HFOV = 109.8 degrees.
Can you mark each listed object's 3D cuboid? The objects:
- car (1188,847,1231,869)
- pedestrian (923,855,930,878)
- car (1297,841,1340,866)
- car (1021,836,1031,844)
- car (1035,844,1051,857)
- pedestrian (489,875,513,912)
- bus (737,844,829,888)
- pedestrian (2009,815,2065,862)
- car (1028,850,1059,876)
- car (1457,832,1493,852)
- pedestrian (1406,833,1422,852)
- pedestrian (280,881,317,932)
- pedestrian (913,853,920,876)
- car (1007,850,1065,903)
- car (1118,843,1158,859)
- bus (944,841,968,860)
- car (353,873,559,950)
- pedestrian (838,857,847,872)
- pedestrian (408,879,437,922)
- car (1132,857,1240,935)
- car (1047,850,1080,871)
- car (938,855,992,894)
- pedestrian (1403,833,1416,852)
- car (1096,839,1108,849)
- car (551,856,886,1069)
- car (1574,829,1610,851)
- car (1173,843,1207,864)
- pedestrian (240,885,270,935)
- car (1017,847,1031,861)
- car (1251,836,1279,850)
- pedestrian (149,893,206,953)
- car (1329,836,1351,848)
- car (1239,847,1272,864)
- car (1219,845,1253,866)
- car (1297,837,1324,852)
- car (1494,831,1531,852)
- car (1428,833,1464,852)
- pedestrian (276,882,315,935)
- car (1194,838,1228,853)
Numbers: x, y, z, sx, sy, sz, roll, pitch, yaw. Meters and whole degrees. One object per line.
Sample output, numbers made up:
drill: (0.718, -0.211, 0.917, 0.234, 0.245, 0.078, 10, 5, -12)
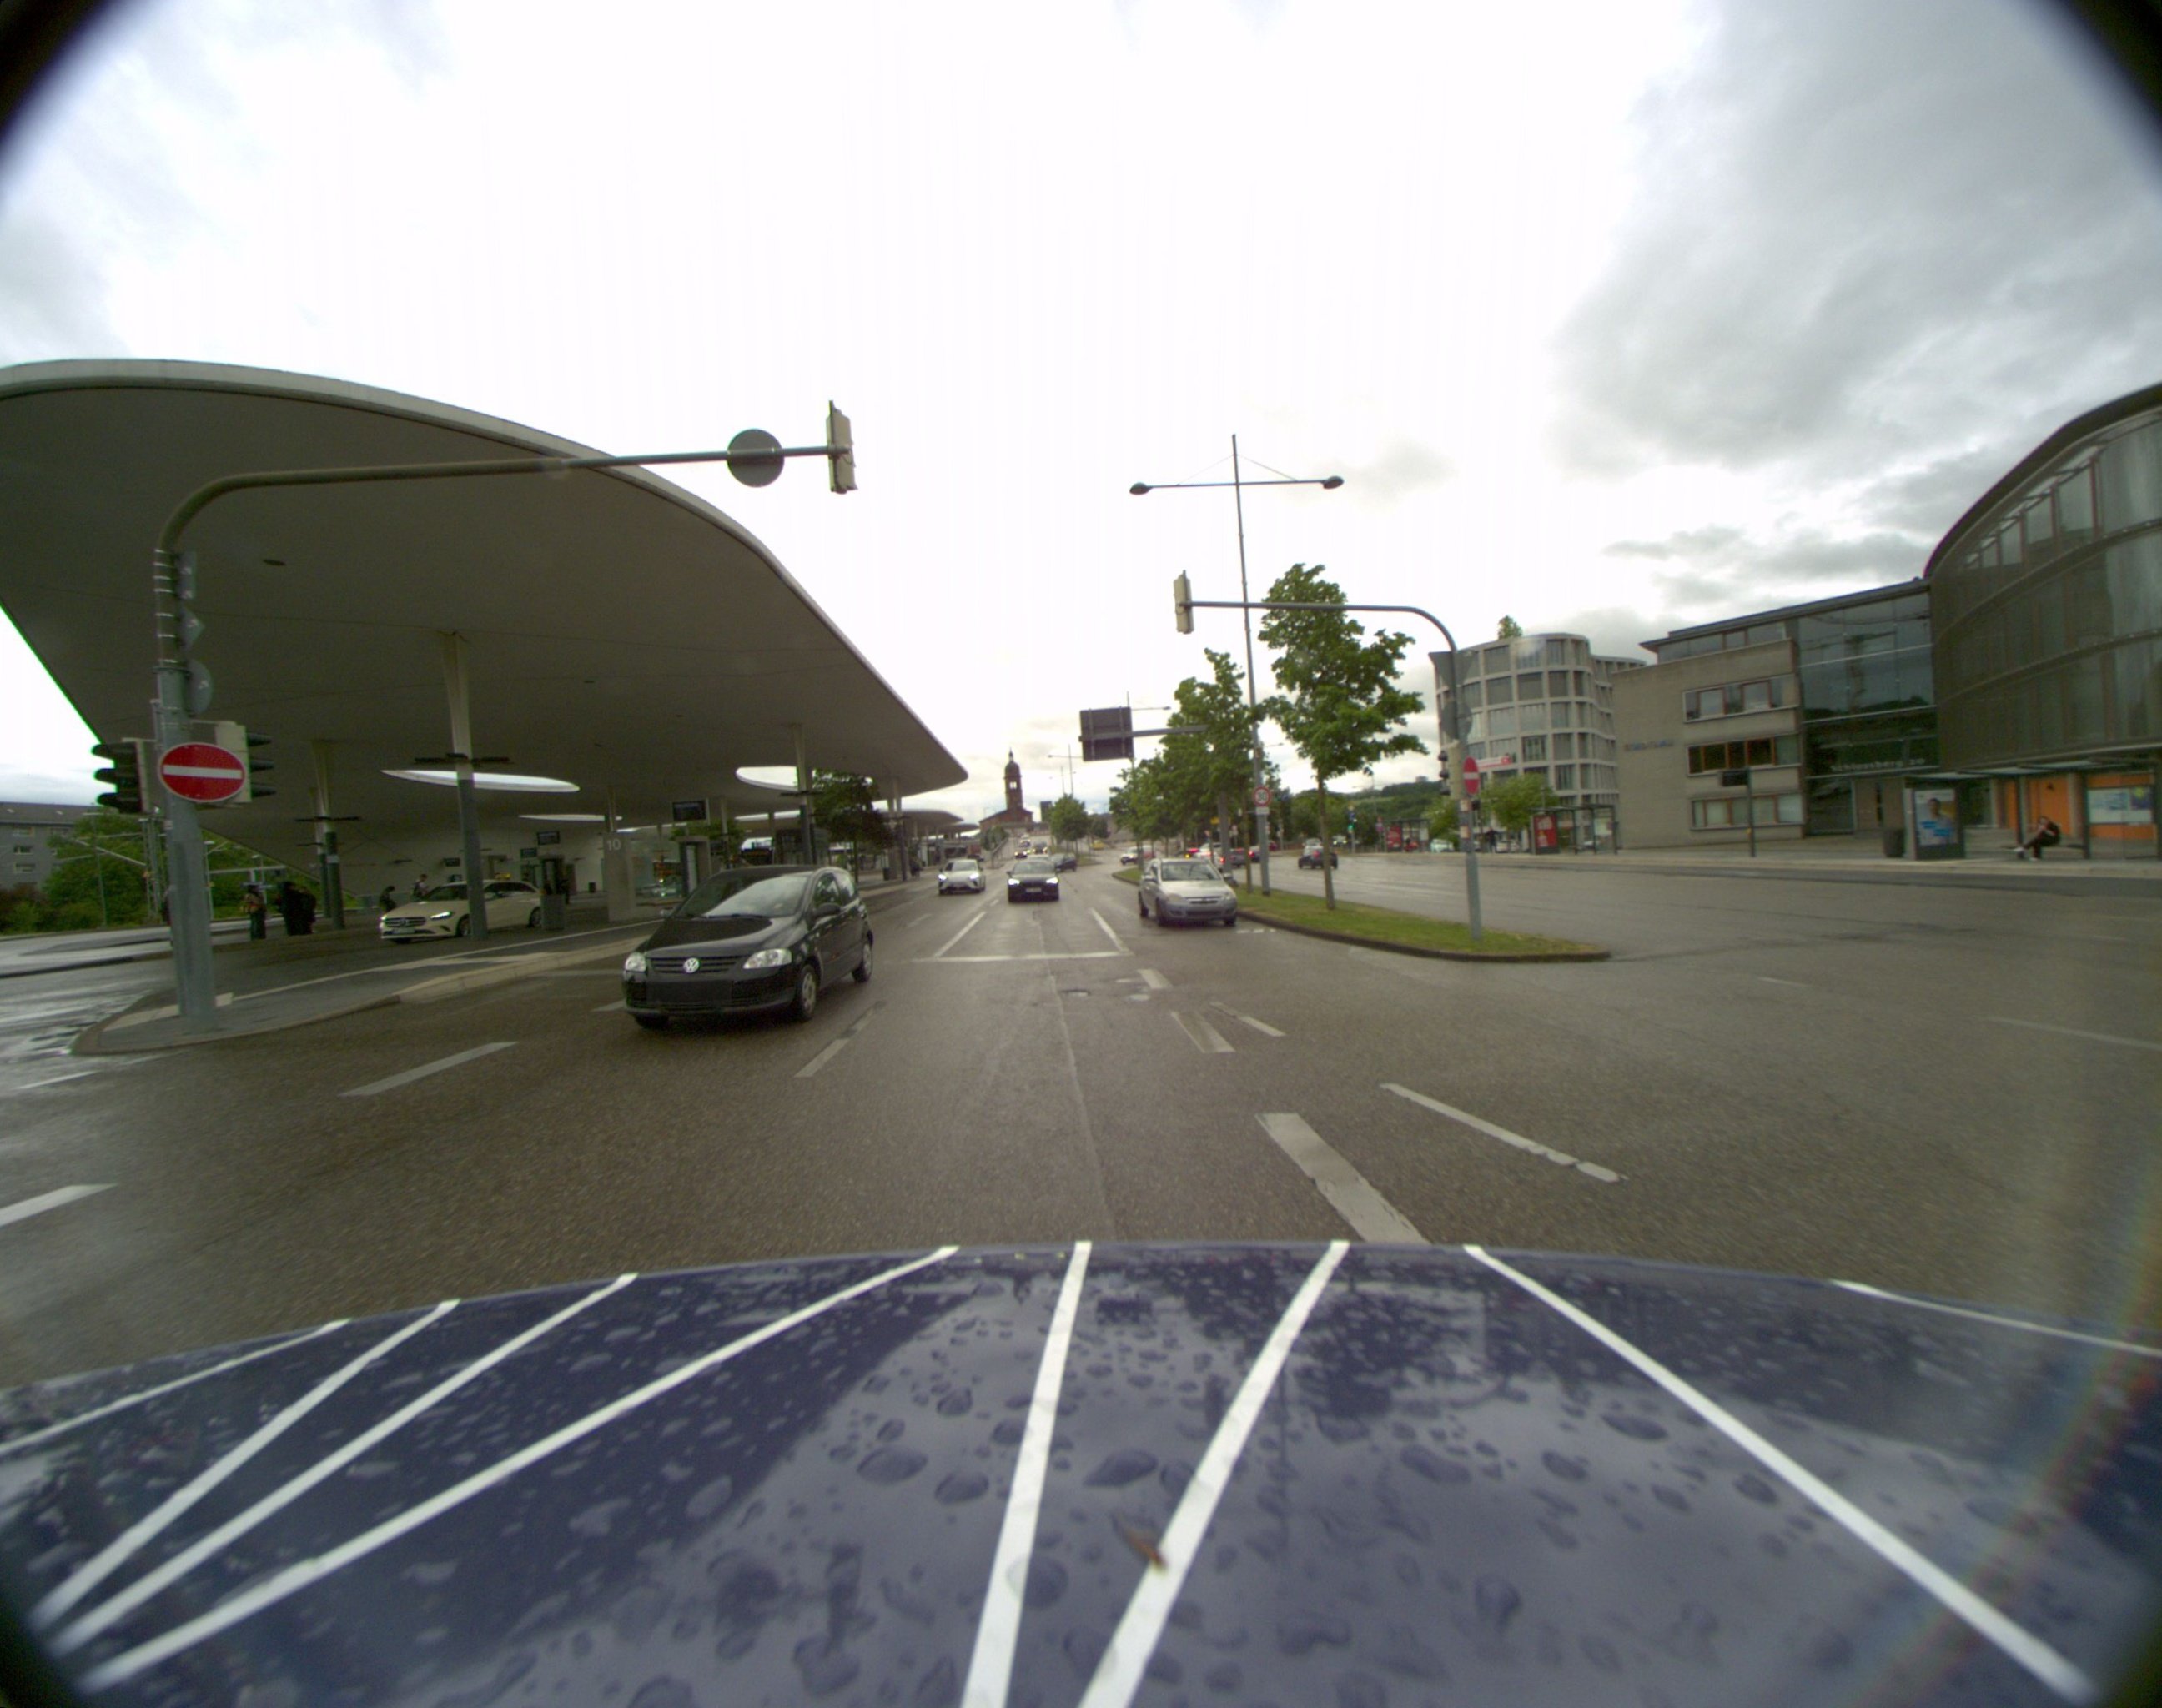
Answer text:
car: (8.666, 0.262, 51.528, 2.010, 1.345, 4.163, -2, 1, -2)
pedestrian: (-11.971, 0.985, 58.898, 0.446, 1.754, 0.536, -3, 1, -19)
car: (15.655, -0.051, 50.298, 1.681, 1.503, 3.863, -2, 1, 1)
car: (-11.416, -2.925, 157.569, 1.650, 1.552, 3.647, -2, 1, -8)
car: (-5.947, -0.523, 118.900, 2.000, 2.002, 3.997, -2, 1, -8)
pedestrian: (-23.872, 1.620, 31.266, 0.479, 1.505, 0.535, -2, 1, 1)
bus: (-22.972, 0.865, 59.475, 2.877, 3.064, 11.919, -2, 0, -2)
pedestrian: (26.949, -0.432, 21.420, 0.668, 1.292, 0.720, -1, 1, 3)
car: (-2.548, 0.583, 52.410, 1.876, 1.625, 4.300, -2, 1, 0)
car: (35.914, -1.081, 69.243, 1.871, 1.692, 4.165, -1, 1, 43)
pedestrian: (26.377, -0.938, 60.273, 0.983, 1.481, 0.734, -1, 1, 8)
pedestrian: (-23.629, 1.581, 22.959, 0.534, 1.505, 0.479, -2, 1, 2)
pedestrian: (-12.801, 0.791, 59.020, 0.445, 1.754, 0.537, -3, 1, -9)
car: (-1.674, 0.736, 27.405, 1.876, 1.692, 4.155, -2, 1, -5)
car: (6.026, -0.319, 79.867, 1.871, 1.625, 4.165, 0, 1, 45)
bus: (-21.544, -0.596, 130.738, 3.585, 3.080, 10.743, -3, 1, -11)
car: (-17.023, 1.488, 21.080, 1.999, 1.671, 4.540, -2, 1, -2)
pedestrian: (-33.398, 1.499, 106.352, 1.026, 2.002, 0.878, -2, 1, -22)
pedestrian: (-23.675, 1.672, 27.329, 0.479, 1.505, 0.535, -2, 1, 1)
car: (2.251, 0.849, 17.178, 1.699, 1.457, 3.718, -2, 1, -4)
car: (-1.462, 0.551, 65.702, 1.874, 1.625, 4.160, -1, 1, 12)
car: (-5.199, 0.887, 34.530, 1.811, 1.550, 4.049, -2, 1, 0)
pedestrian: (26.460, -0.954, 61.211, 0.733, 1.481, 0.734, -1, 1, 6)
car: (3.602, -1.718, 130.862, 1.876, 1.624, 4.156, -2, 1, -1)
car: (-3.578, 0.916, 8.493, 1.876, 1.692, 4.155, -2, 1, -3)
car: (42.502, -1.170, 63.181, 1.871, 1.692, 4.165, -1, 1, 43)
car: (8.404, -0.051, 58.870, 2.010, 1.545, 4.164, -2, 1, 0)
pedestrian: (-25.540, 1.719, 23.488, 0.534, 1.505, 0.480, -2, 1, 32)
car: (-8.628, -0.037, 115.765, 1.999, 2.002, 3.998, -2, 1, -4)
car: (23.826, -1.414, 98.377, 1.872, 1.624, 4.165, -2, 1, 38)
pedestrian: (-25.169, 1.904, 21.181, 0.641, 1.586, 0.741, -1, 1, 12)
car: (40.399, -1.916, 118.519, 1.889, 1.704, 4.226, -1, 1, 40)
car: (15.735, 0.131, 68.696, 1.961, 1.414, 3.999, -2, 1, -2)
car: (12.050, 0.093, 59.290, 1.699, 1.457, 4.451, -2, 1, 1)
car: (26.073, -1.062, 86.505, 1.960, 1.609, 4.208, -1, 1, 3)
car: (38.173, -1.125, 67.191, 1.872, 1.692, 4.165, -1, 1, 43)
car: (34.134, -1.058, 71.010, 1.871, 1.692, 4.165, -1, 1, 43)
pedestrian: (-22.920, 1.578, 22.177, 0.534, 1.505, 0.479, -2, 1, 2)
car: (15.460, -1.019, 90.269, 1.871, 1.625, 4.293, -1, 1, 42)
